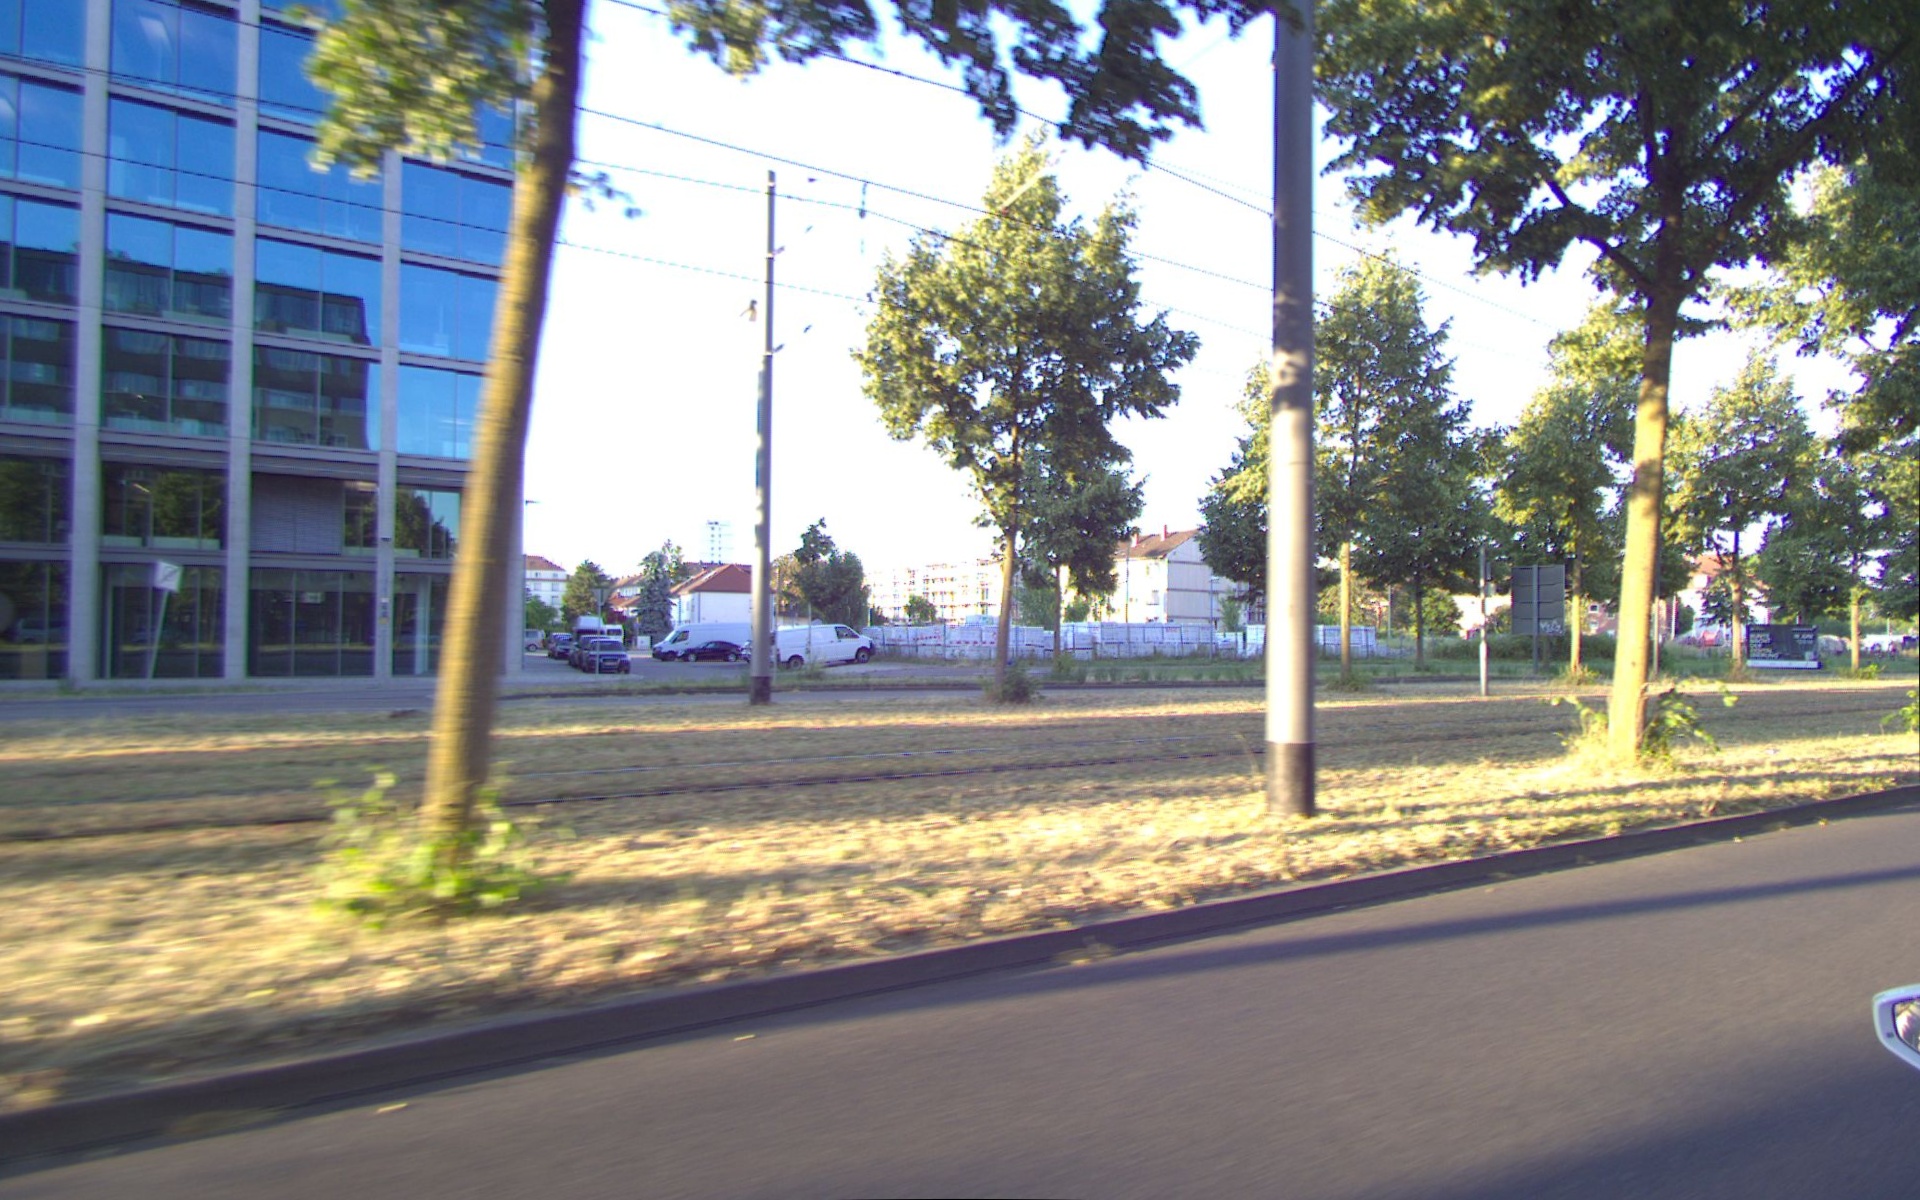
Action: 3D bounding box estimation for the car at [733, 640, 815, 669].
[{"bbox_3d":[-10.199,3.002,55.085,3.953,1.529,1.984,2,-3,-30],"label":"car"}]

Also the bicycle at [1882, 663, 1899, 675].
[{"bbox_3d":[84.455,6.259,91.152,2.060,1.024,0.616,3,-2,-33],"label":"bicycle"}]

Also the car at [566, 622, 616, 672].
[{"bbox_3d":[-19.550,2.436,53.052,1.947,2.499,5.465,2,-2,-25],"label":"car"}]

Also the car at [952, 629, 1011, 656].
[{"bbox_3d":[1.662,3.307,77.858,4.264,2.008,1.788,2,-3,-32],"label":"car"}]

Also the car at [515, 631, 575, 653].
[{"bbox_3d":[-39.963,4.067,96.781,5.011,2.040,1.982,2,-3,-33],"label":"car"}]

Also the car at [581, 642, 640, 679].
[{"bbox_3d":[-15.055,2.582,43.195,1.870,1.464,3.973,2,-2,-27],"label":"car"}]

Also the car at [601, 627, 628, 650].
[{"bbox_3d":[-36.521,4.061,106.066,2.263,2.382,6.168,1,-2,-22],"label":"car"}]

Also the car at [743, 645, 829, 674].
[{"bbox_3d":[-9.029,3.072,52.157,3.953,1.437,1.984,2,-3,-30],"label":"car"}]

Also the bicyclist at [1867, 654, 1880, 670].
[{"bbox_3d":[81.926,5.559,90.057,0.927,1.440,0.616,2,-2,-32],"label":"bicyclist"}]

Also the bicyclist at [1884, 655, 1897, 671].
[{"bbox_3d":[84.366,5.718,91.093,0.927,1.475,0.616,2,-2,-32],"label":"bicyclist"}]

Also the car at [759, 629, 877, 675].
[{"bbox_3d":[-6.651,2.453,47.135,5.024,2.040,2.196,2,-3,-30],"label":"car"}]

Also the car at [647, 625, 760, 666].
[{"bbox_3d":[-17.930,3.217,70.408,7.226,2.802,2.456,2,-3,-31],"label":"car"}]

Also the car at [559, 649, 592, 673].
[{"bbox_3d":[-24.890,3.941,64.972,1.667,1.464,3.820,2,-2,-26],"label":"car"}]

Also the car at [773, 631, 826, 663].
[{"bbox_3d":[-13.990,4.055,87.325,2.291,2.717,6.161,2,-3,-33],"label":"car"}]

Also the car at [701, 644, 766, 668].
[{"bbox_3d":[-15.305,3.800,67.961,3.955,1.529,1.788,2,-3,-32],"label":"car"}]
